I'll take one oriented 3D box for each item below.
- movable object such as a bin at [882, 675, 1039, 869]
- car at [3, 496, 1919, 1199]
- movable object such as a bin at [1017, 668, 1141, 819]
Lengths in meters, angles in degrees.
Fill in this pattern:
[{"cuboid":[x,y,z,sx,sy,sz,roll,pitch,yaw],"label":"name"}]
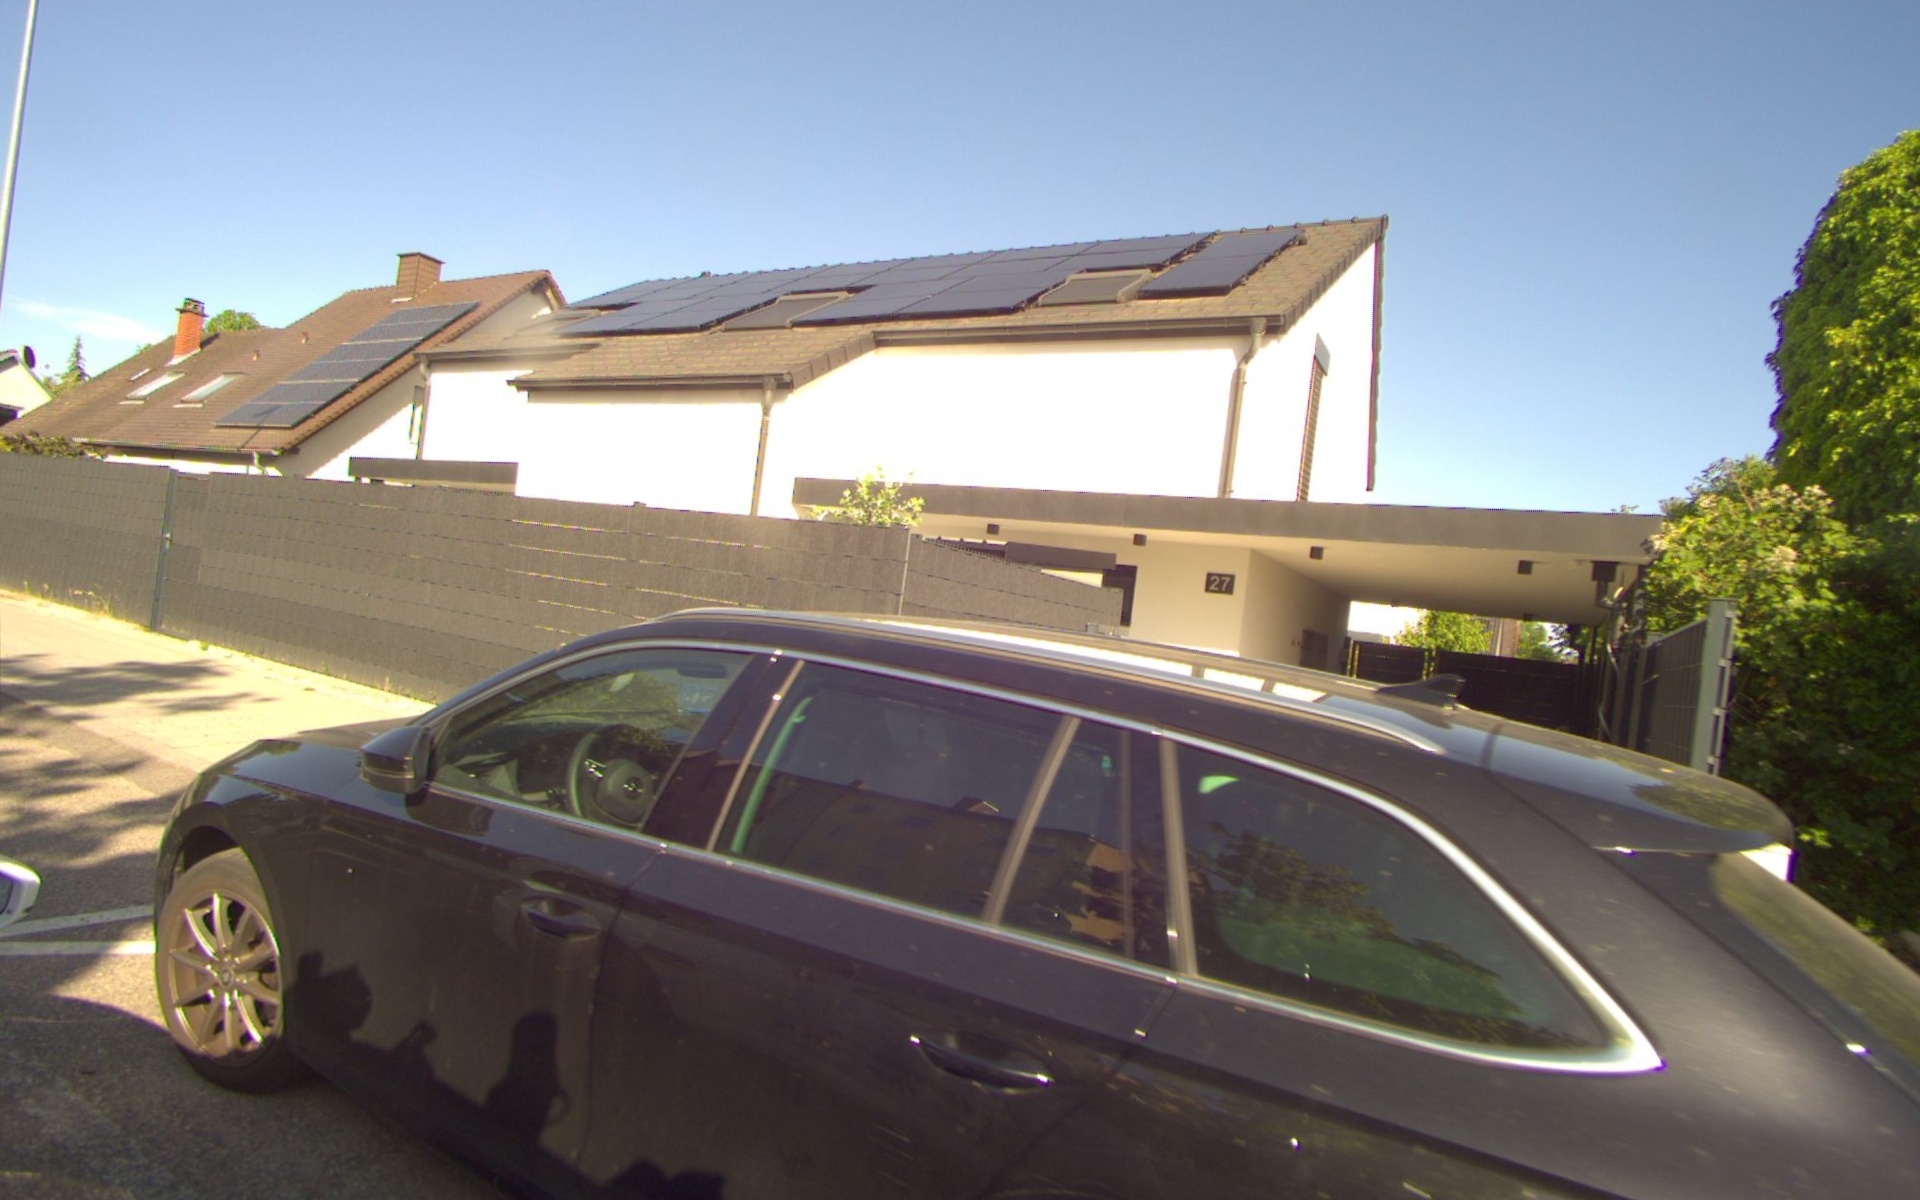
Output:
[{"cuboid":[0.010,1.034,6.291,0.693,1.053,0.595,5,0,32],"label":"movable object such as a bin"},{"cuboid":[-0.464,0.734,2.709,4.907,1.499,1.767,8,2,31],"label":"car"},{"cuboid":[0.936,1.091,7.871,0.693,1.053,0.595,5,0,32],"label":"movable object such as a bin"}]
